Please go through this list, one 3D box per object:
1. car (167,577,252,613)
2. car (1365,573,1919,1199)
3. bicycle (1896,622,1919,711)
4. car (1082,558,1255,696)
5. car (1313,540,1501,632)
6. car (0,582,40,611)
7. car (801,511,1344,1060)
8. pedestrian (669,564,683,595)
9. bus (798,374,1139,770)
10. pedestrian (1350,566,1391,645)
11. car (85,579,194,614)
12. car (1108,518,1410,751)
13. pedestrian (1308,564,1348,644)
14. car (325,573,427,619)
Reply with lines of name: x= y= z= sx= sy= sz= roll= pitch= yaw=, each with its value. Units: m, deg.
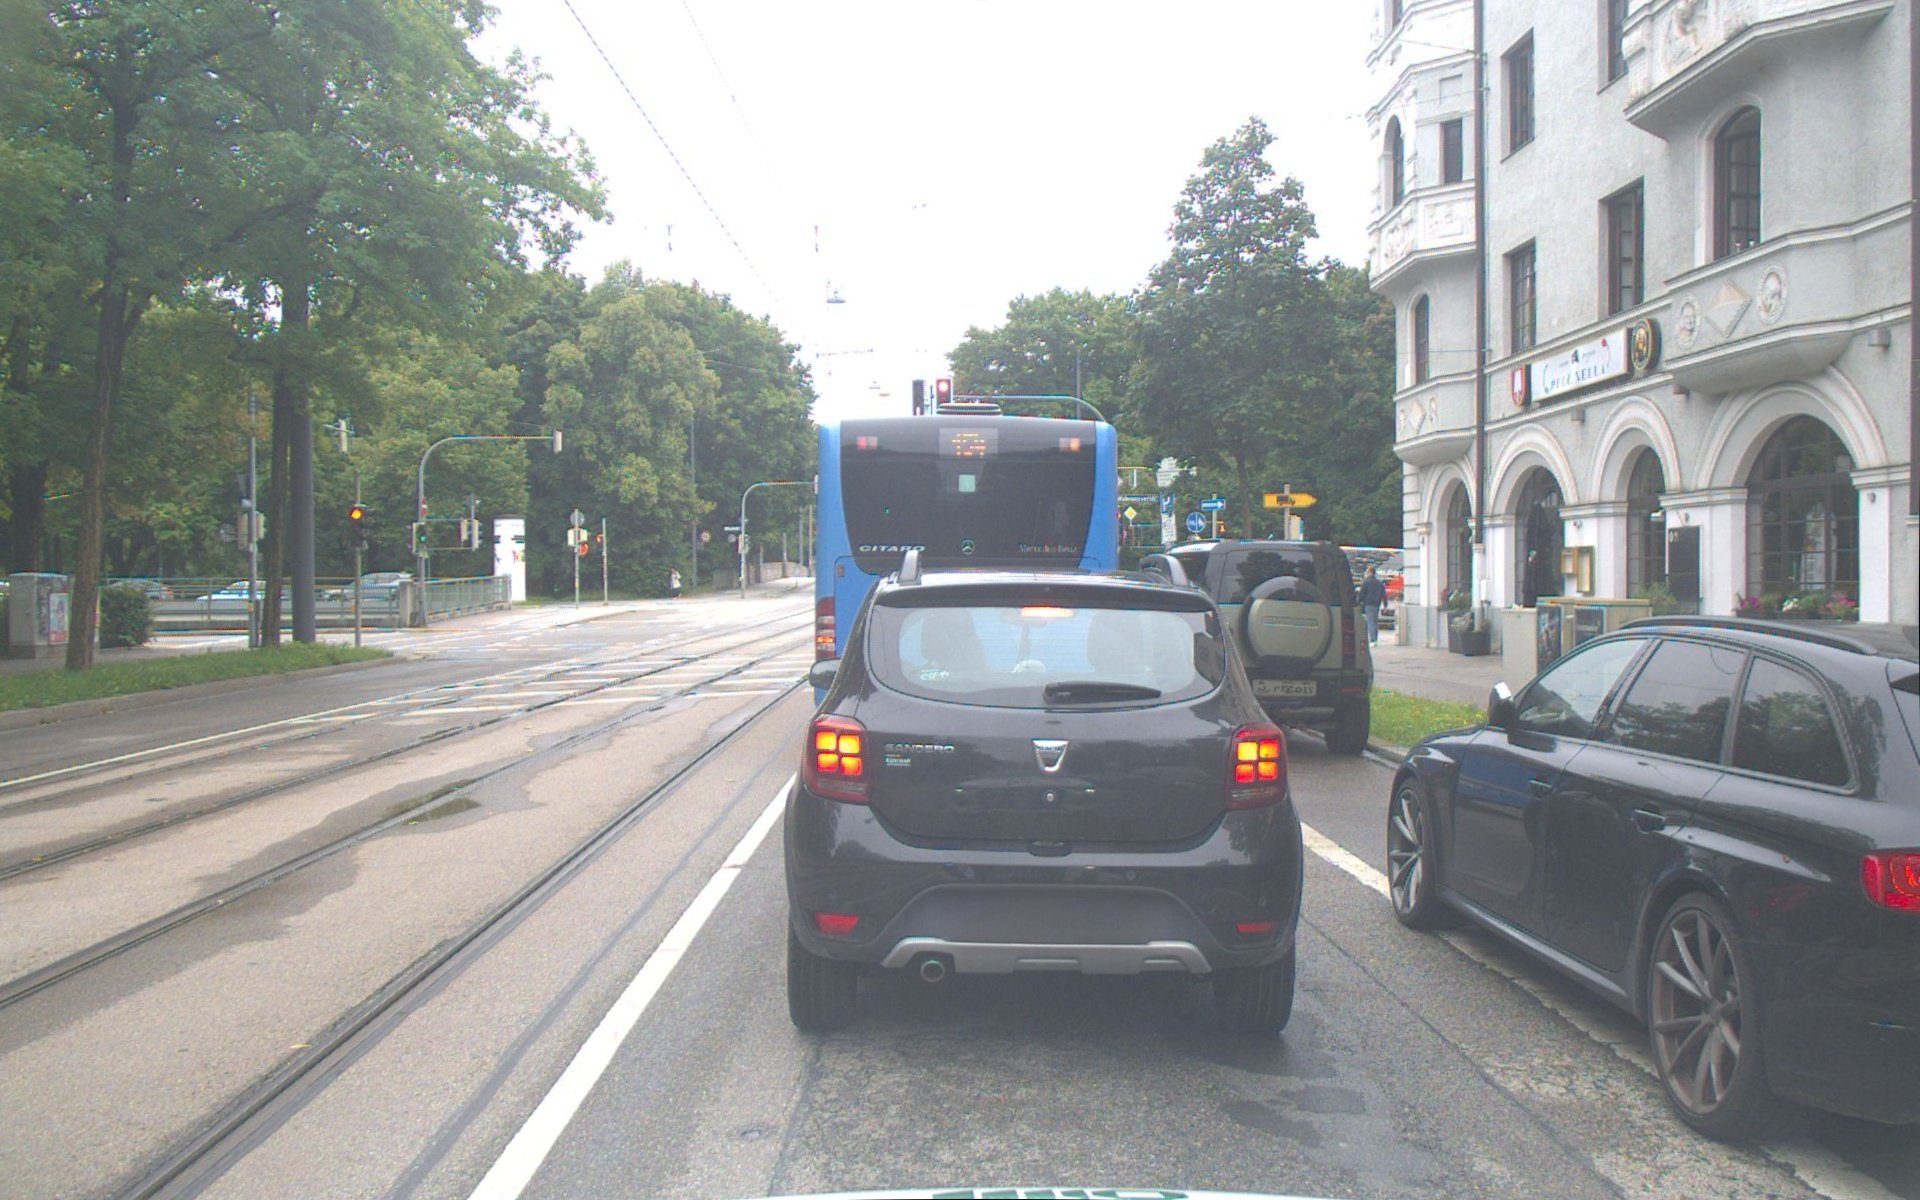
car: x=-32.620 y=-0.218 z=71.939 sx=3.050 sy=1.477 sz=1.249 roll=1 pitch=0 yaw=-6
car: x=2.913 y=0.674 z=5.909 sx=1.681 sy=1.451 sz=4.601 roll=1 pitch=0 yaw=-1
bicycle: x=10.453 y=0.723 z=17.791 sx=0.254 sy=0.947 sz=0.886 roll=1 pitch=0 yaw=0
car: x=2.670 y=0.315 z=22.098 sx=1.679 sy=1.619 sz=4.326 roll=1 pitch=0 yaw=-1
car: x=13.916 y=-0.431 z=51.633 sx=5.191 sy=2.658 sz=2.229 roll=1 pitch=0 yaw=-4
car: x=-41.913 y=-0.165 z=71.329 sx=3.656 sy=1.206 sz=1.249 roll=1 pitch=0 yaw=-6
car: x=0.296 y=0.543 z=6.630 sx=1.568 sy=1.584 sz=3.524 roll=1 pitch=0 yaw=-1
pedestrian: x=-14.292 y=-1.020 z=83.237 sx=0.520 sy=1.527 sz=0.588 roll=1 pitch=0 yaw=4
bus: x=-0.080 y=-0.229 z=16.492 sx=2.625 sy=3.050 sz=6.957 roll=1 pitch=0 yaw=-3
pedestrian: x=9.435 y=0.123 z=38.063 sx=0.690 sy=1.762 sz=0.843 roll=1 pitch=0 yaw=-1
car: x=-35.624 y=-0.153 z=71.892 sx=3.848 sy=1.429 sz=1.719 roll=1 pitch=0 yaw=-5
car: x=2.765 y=0.286 z=16.476 sx=1.876 sy=1.939 sz=4.805 roll=1 pitch=0 yaw=-3
pedestrian: x=8.603 y=0.093 z=38.649 sx=0.690 sy=1.848 sz=0.869 roll=1 pitch=0 yaw=-1
car: x=-25.709 y=-0.180 z=72.845 sx=3.946 sy=1.920 sz=1.488 roll=1 pitch=0 yaw=-8
